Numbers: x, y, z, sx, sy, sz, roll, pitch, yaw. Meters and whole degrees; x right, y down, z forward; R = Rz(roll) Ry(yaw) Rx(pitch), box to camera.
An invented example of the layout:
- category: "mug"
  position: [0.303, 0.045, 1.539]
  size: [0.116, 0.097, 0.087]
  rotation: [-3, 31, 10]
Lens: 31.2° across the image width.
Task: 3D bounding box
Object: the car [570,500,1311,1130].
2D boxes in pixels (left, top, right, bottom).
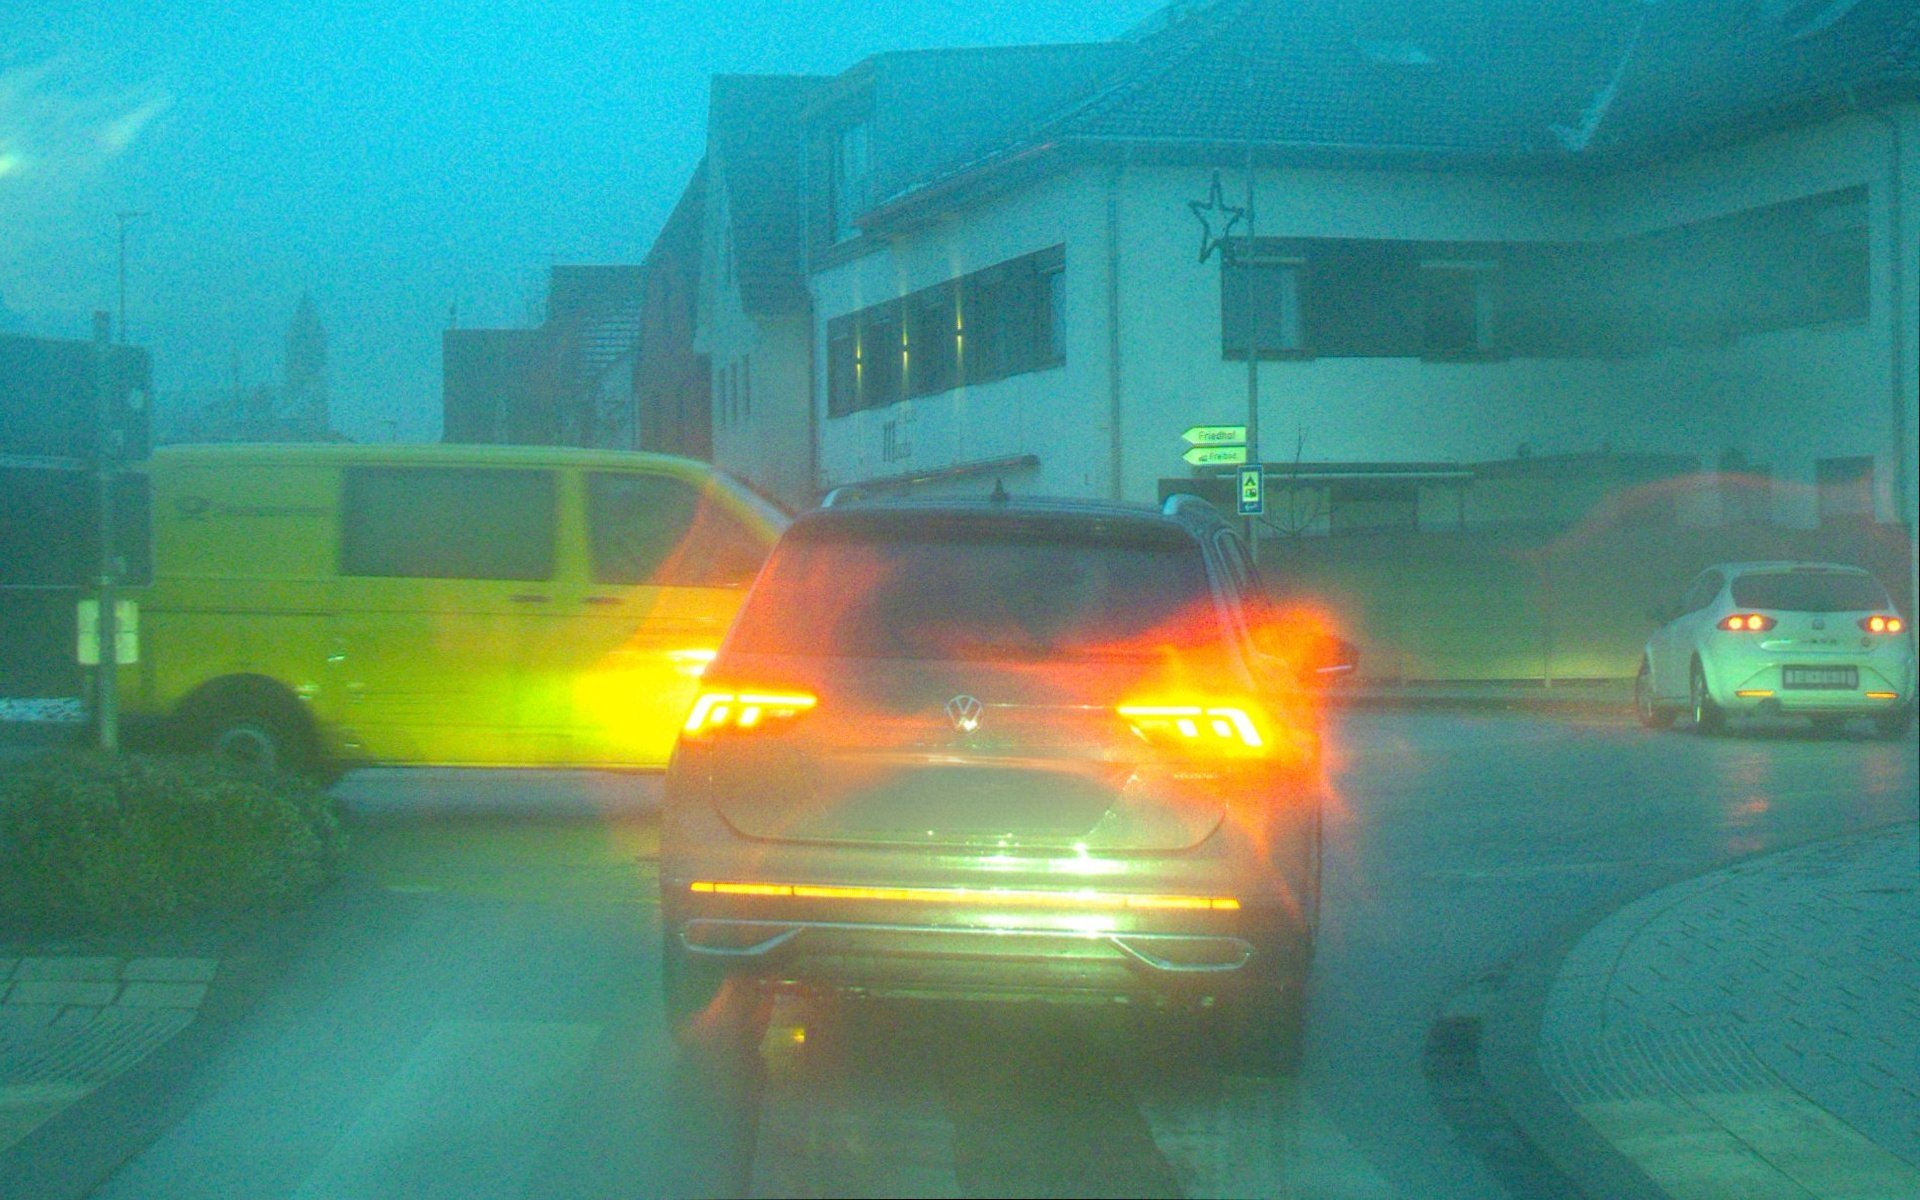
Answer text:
- category: "car"
  position: [0.083, 0.517, 10.839]
  size: [1.916, 1.609, 3.950]
  rotation: [0, 1, 4]

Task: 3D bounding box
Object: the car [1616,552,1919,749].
- category: "car"
  position: [6.801, 0.375, 29.269]
  size: [1.778, 1.533, 3.932]
  rotation: [0, 1, 2]

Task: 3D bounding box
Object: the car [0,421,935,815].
- category: "car"
  position: [-2.584, 0.086, 18.528]
  size: [4.883, 2.007, 2.000]
  rotation: [0, 0, -1]
